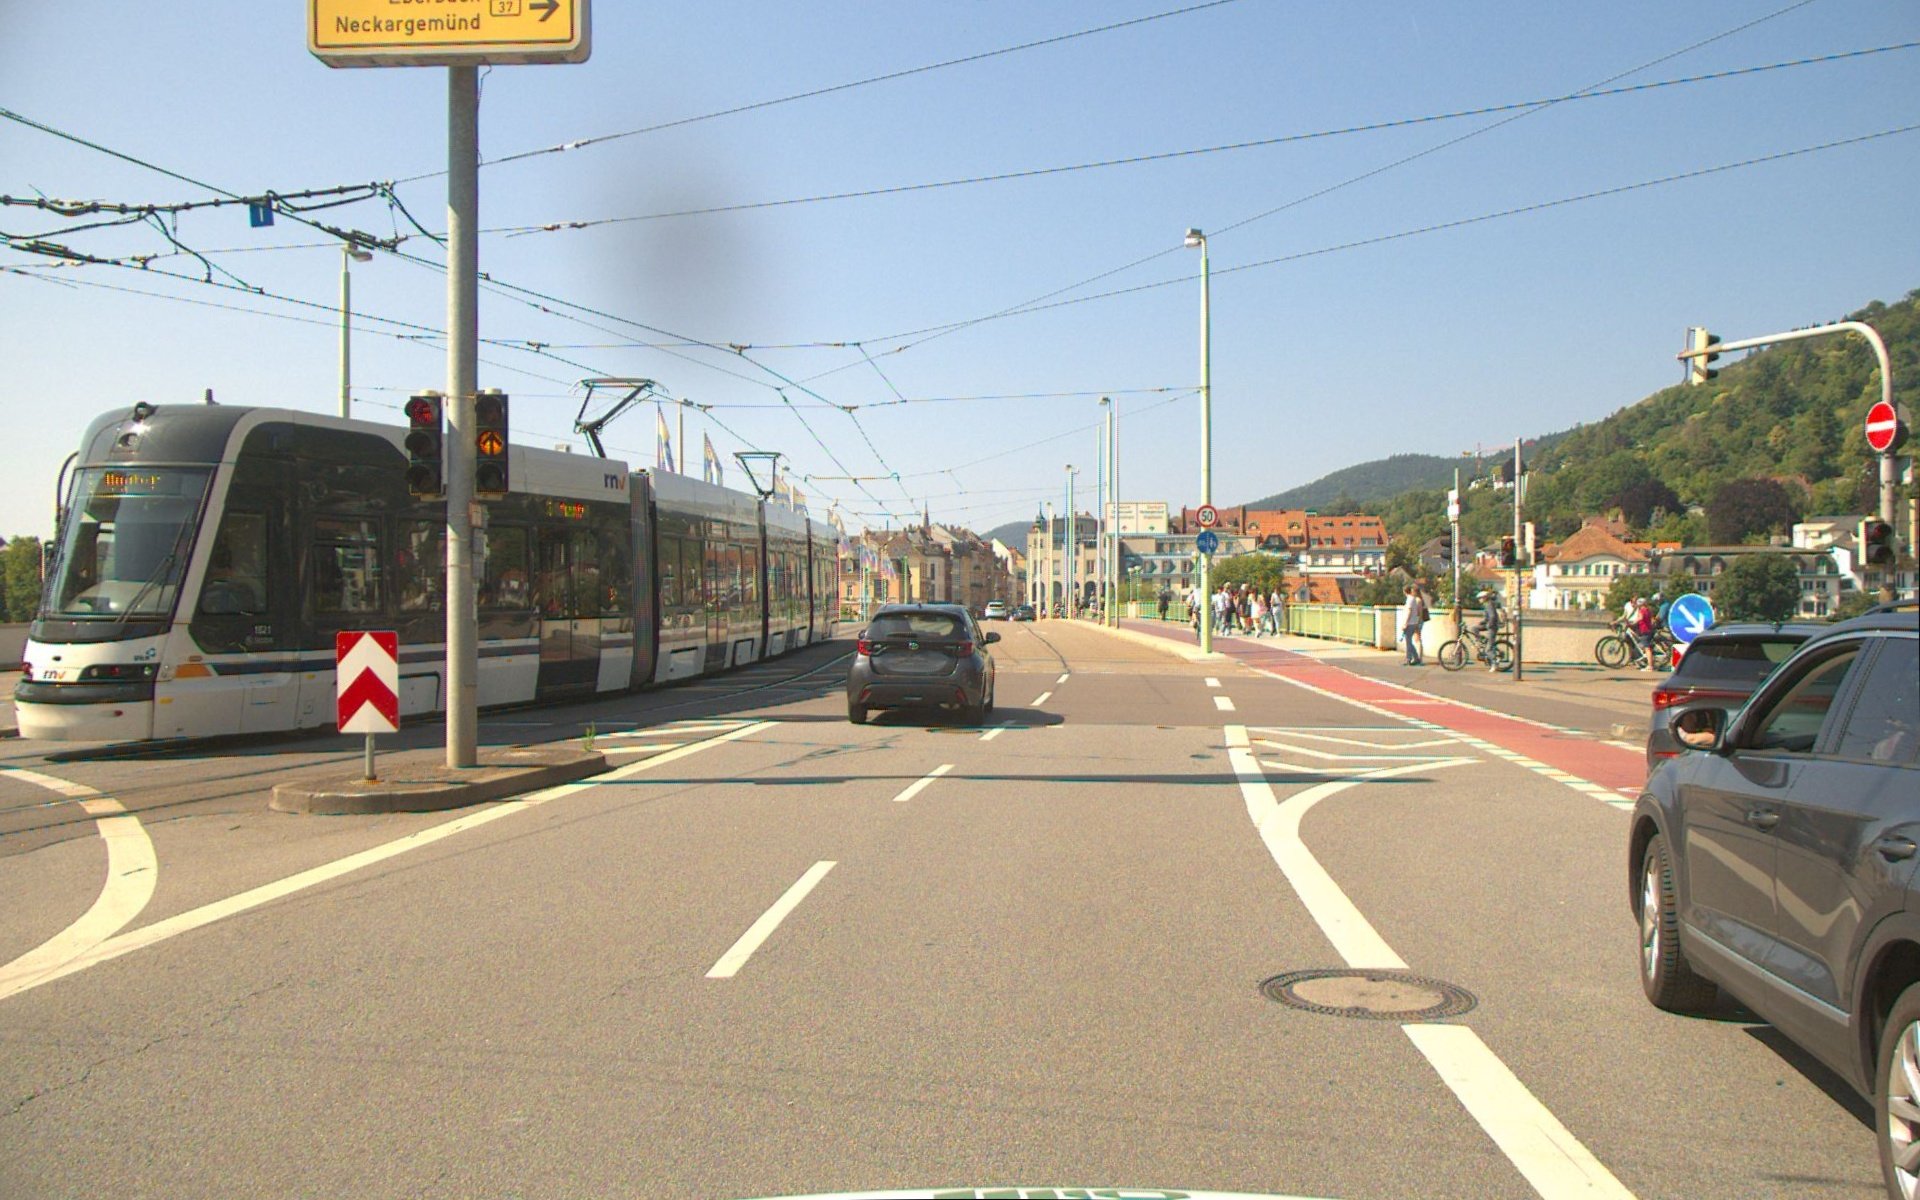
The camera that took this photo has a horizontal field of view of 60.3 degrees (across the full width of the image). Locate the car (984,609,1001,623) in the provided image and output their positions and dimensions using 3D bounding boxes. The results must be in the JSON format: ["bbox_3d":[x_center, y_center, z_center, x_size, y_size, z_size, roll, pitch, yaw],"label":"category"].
[{"bbox_3d":[4.122,1.991,210.750,1.953,1.747,3.999,0,-1,-1],"label":"car"}]

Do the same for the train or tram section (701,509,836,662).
[{"bbox_3d":[-5.271,-0.412,47.645,2.419,3.843,11.850,-1,0,0],"label":"train or tram section"}]

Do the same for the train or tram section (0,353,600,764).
[{"bbox_3d":[-7.734,-0.398,20.218,2.483,3.843,9.176,-1,0,16],"label":"train or tram section"}]

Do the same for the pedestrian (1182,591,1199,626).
[{"bbox_3d":[10.445,0.377,74.963,0.636,1.590,0.692,-1,0,2],"label":"pedestrian"}]

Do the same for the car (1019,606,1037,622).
[{"bbox_3d":[6.764,1.404,164.395,1.766,1.494,4.001,-2,-1,3],"label":"car"}]

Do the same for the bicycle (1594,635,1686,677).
[{"bbox_3d":[15.346,1.261,37.326,1.900,0.868,0.565,1,0,25],"label":"bicycle"}]

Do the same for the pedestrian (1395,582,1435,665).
[{"bbox_3d":[10.411,0.527,37.882,0.757,1.888,0.645,0,0,4],"label":"pedestrian"}]

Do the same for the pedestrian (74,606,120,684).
[{"bbox_3d":[-19.544,1.005,37.485,0.823,1.726,1.090,-1,0,-24],"label":"pedestrian"}]

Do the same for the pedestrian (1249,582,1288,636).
[{"bbox_3d":[10.489,0.295,56.257,0.965,1.800,1.253,-1,0,-5],"label":"pedestrian"}]

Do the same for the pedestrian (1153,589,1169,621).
[{"bbox_3d":[11.210,0.276,92.259,0.642,1.774,0.977,0,1,-7],"label":"pedestrian"}]

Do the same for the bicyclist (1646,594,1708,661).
[{"bbox_3d":[16.327,0.615,37.685,1.057,1.499,0.929,1,0,9],"label":"bicyclist"}]

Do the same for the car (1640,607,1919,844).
[{"bbox_3d":[6.627,0.842,13.166,1.955,1.517,4.280,1,0,26],"label":"car"}]

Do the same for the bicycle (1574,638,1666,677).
[{"bbox_3d":[15.312,1.338,38.397,1.898,0.841,0.565,1,0,5],"label":"bicycle"}]

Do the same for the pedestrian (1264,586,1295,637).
[{"bbox_3d":[10.463,0.381,54.207,0.783,1.663,0.949,0,-1,-5],"label":"pedestrian"}]

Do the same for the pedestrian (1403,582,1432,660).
[{"bbox_3d":[10.556,0.478,38.176,0.523,1.791,0.577,0,0,4],"label":"pedestrian"}]

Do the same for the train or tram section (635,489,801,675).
[{"bbox_3d":[-5.364,-0.406,38.326,2.354,3.745,9.620,-1,0,0],"label":"train or tram section"}]

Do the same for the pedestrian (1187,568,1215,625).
[{"bbox_3d":[8.645,-0.115,59.318,0.787,2.049,0.953,0,-1,-5],"label":"pedestrian"}]

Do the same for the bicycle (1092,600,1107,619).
[{"bbox_3d":[9.223,0.621,109.401,0.681,1.214,2.077,-1,-1,-3],"label":"bicycle"}]

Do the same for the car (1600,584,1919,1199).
[{"bbox_3d":[3.315,0.752,4.882,1.888,1.542,3.996,1,0,10],"label":"car"}]

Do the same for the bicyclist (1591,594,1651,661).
[{"bbox_3d":[15.328,0.622,38.391,1.057,1.499,0.929,1,0,7],"label":"bicyclist"}]

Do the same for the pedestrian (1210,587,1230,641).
[{"bbox_3d":[8.951,0.477,57.032,0.538,1.830,0.645,0,-1,-5],"label":"pedestrian"}]

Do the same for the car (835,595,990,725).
[{"bbox_3d":[-0.609,0.731,22.038,1.871,1.567,3.999,0,0,-1],"label":"car"}]

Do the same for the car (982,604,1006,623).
[{"bbox_3d":[2.862,1.117,138.794,1.767,1.494,3.998,-2,-1,-2],"label":"car"}]

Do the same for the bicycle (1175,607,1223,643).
[{"bbox_3d":[7.612,0.781,52.829,0.776,1.115,3.742,-1,0,-3],"label":"bicycle"}]

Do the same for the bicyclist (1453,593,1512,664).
[{"bbox_3d":[11.374,0.606,36.021,1.057,1.499,0.801,1,0,5],"label":"bicyclist"}]

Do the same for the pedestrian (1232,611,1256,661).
[{"bbox_3d":[9.713,1.227,56.496,0.641,1.679,0.868,0,-1,-2],"label":"pedestrian"}]

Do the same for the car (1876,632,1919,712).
[{"bbox_3d":[19.640,1.287,30.756,4.390,1.420,1.843,-1,0,-10],"label":"car"}]

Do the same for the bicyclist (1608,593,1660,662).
[{"bbox_3d":[15.235,0.615,37.389,1.058,1.499,0.762,1,0,22],"label":"bicyclist"}]

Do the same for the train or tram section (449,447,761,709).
[{"bbox_3d":[-5.809,-0.350,29.035,2.483,3.843,9.176,-1,0,7],"label":"train or tram section"}]

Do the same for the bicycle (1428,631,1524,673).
[{"bbox_3d":[11.229,1.131,36.036,1.898,0.841,0.565,1,0,5],"label":"bicycle"}]

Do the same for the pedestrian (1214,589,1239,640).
[{"bbox_3d":[9.311,0.503,57.806,0.682,1.746,0.731,0,-1,-5],"label":"pedestrian"}]

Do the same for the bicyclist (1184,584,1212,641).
[{"bbox_3d":[7.577,0.391,52.728,0.660,1.774,1.149,-1,-1,-4],"label":"bicyclist"}]

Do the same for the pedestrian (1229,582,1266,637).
[{"bbox_3d":[9.431,0.318,54.264,0.965,1.781,0.929,0,-1,-5],"label":"pedestrian"}]
